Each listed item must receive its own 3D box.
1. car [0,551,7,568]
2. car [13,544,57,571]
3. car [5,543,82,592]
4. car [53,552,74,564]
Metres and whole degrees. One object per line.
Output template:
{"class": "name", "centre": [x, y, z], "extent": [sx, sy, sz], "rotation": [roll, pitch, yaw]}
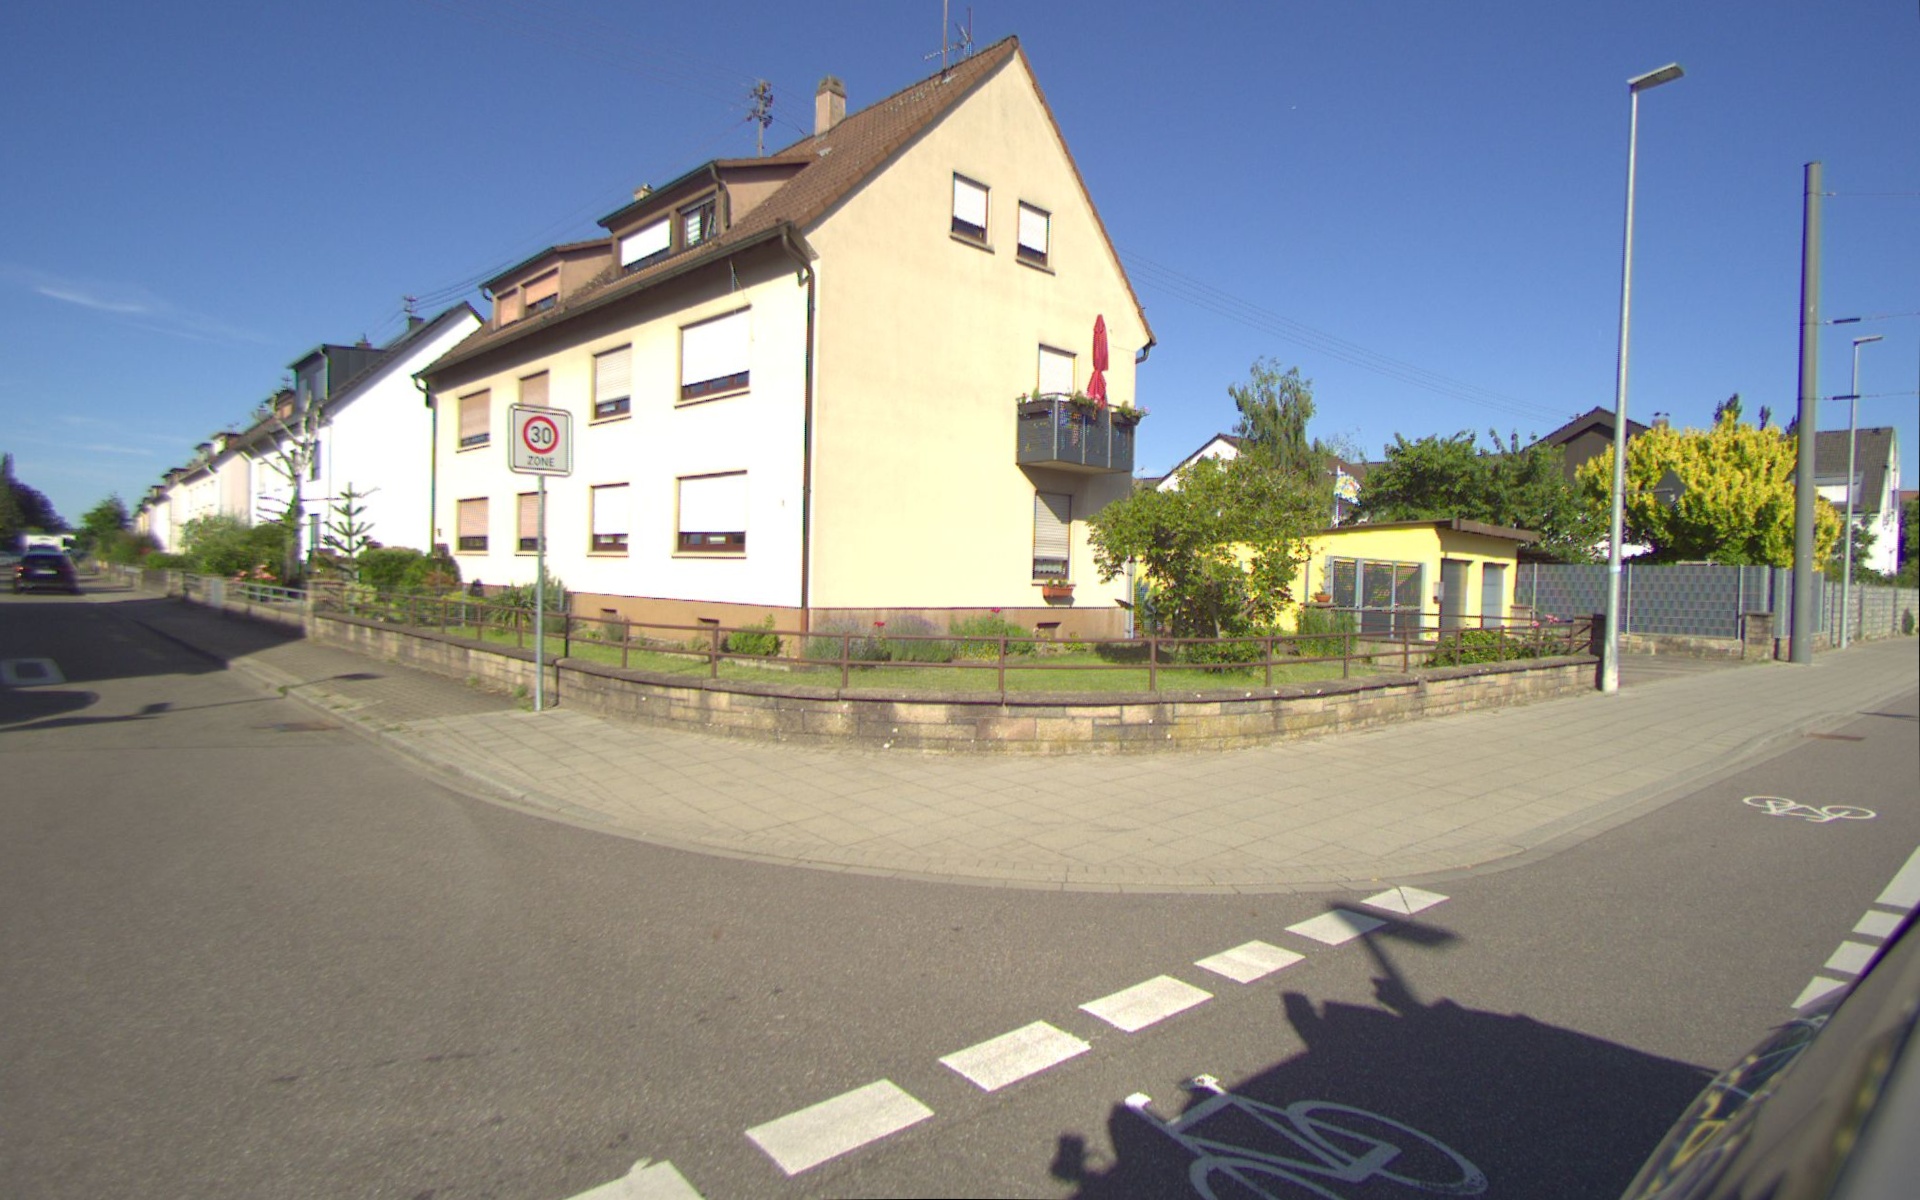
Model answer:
{"class": "car", "centre": [-90.932, -3.824, 95.182], "extent": [4.141, 1.529, 1.773], "rotation": [3, 4, 45]}
{"class": "car", "centre": [-57.892, -2.695, 63.315], "extent": [4.141, 1.641, 1.847], "rotation": [3, 4, 45]}
{"class": "car", "centre": [-33.756, -1.235, 37.240], "extent": [4.217, 1.705, 1.885], "rotation": [3, 4, 45]}
{"class": "car", "centre": [-115.338, -5.458, 130.153], "extent": [4.141, 1.529, 1.773], "rotation": [3, 4, 45]}
